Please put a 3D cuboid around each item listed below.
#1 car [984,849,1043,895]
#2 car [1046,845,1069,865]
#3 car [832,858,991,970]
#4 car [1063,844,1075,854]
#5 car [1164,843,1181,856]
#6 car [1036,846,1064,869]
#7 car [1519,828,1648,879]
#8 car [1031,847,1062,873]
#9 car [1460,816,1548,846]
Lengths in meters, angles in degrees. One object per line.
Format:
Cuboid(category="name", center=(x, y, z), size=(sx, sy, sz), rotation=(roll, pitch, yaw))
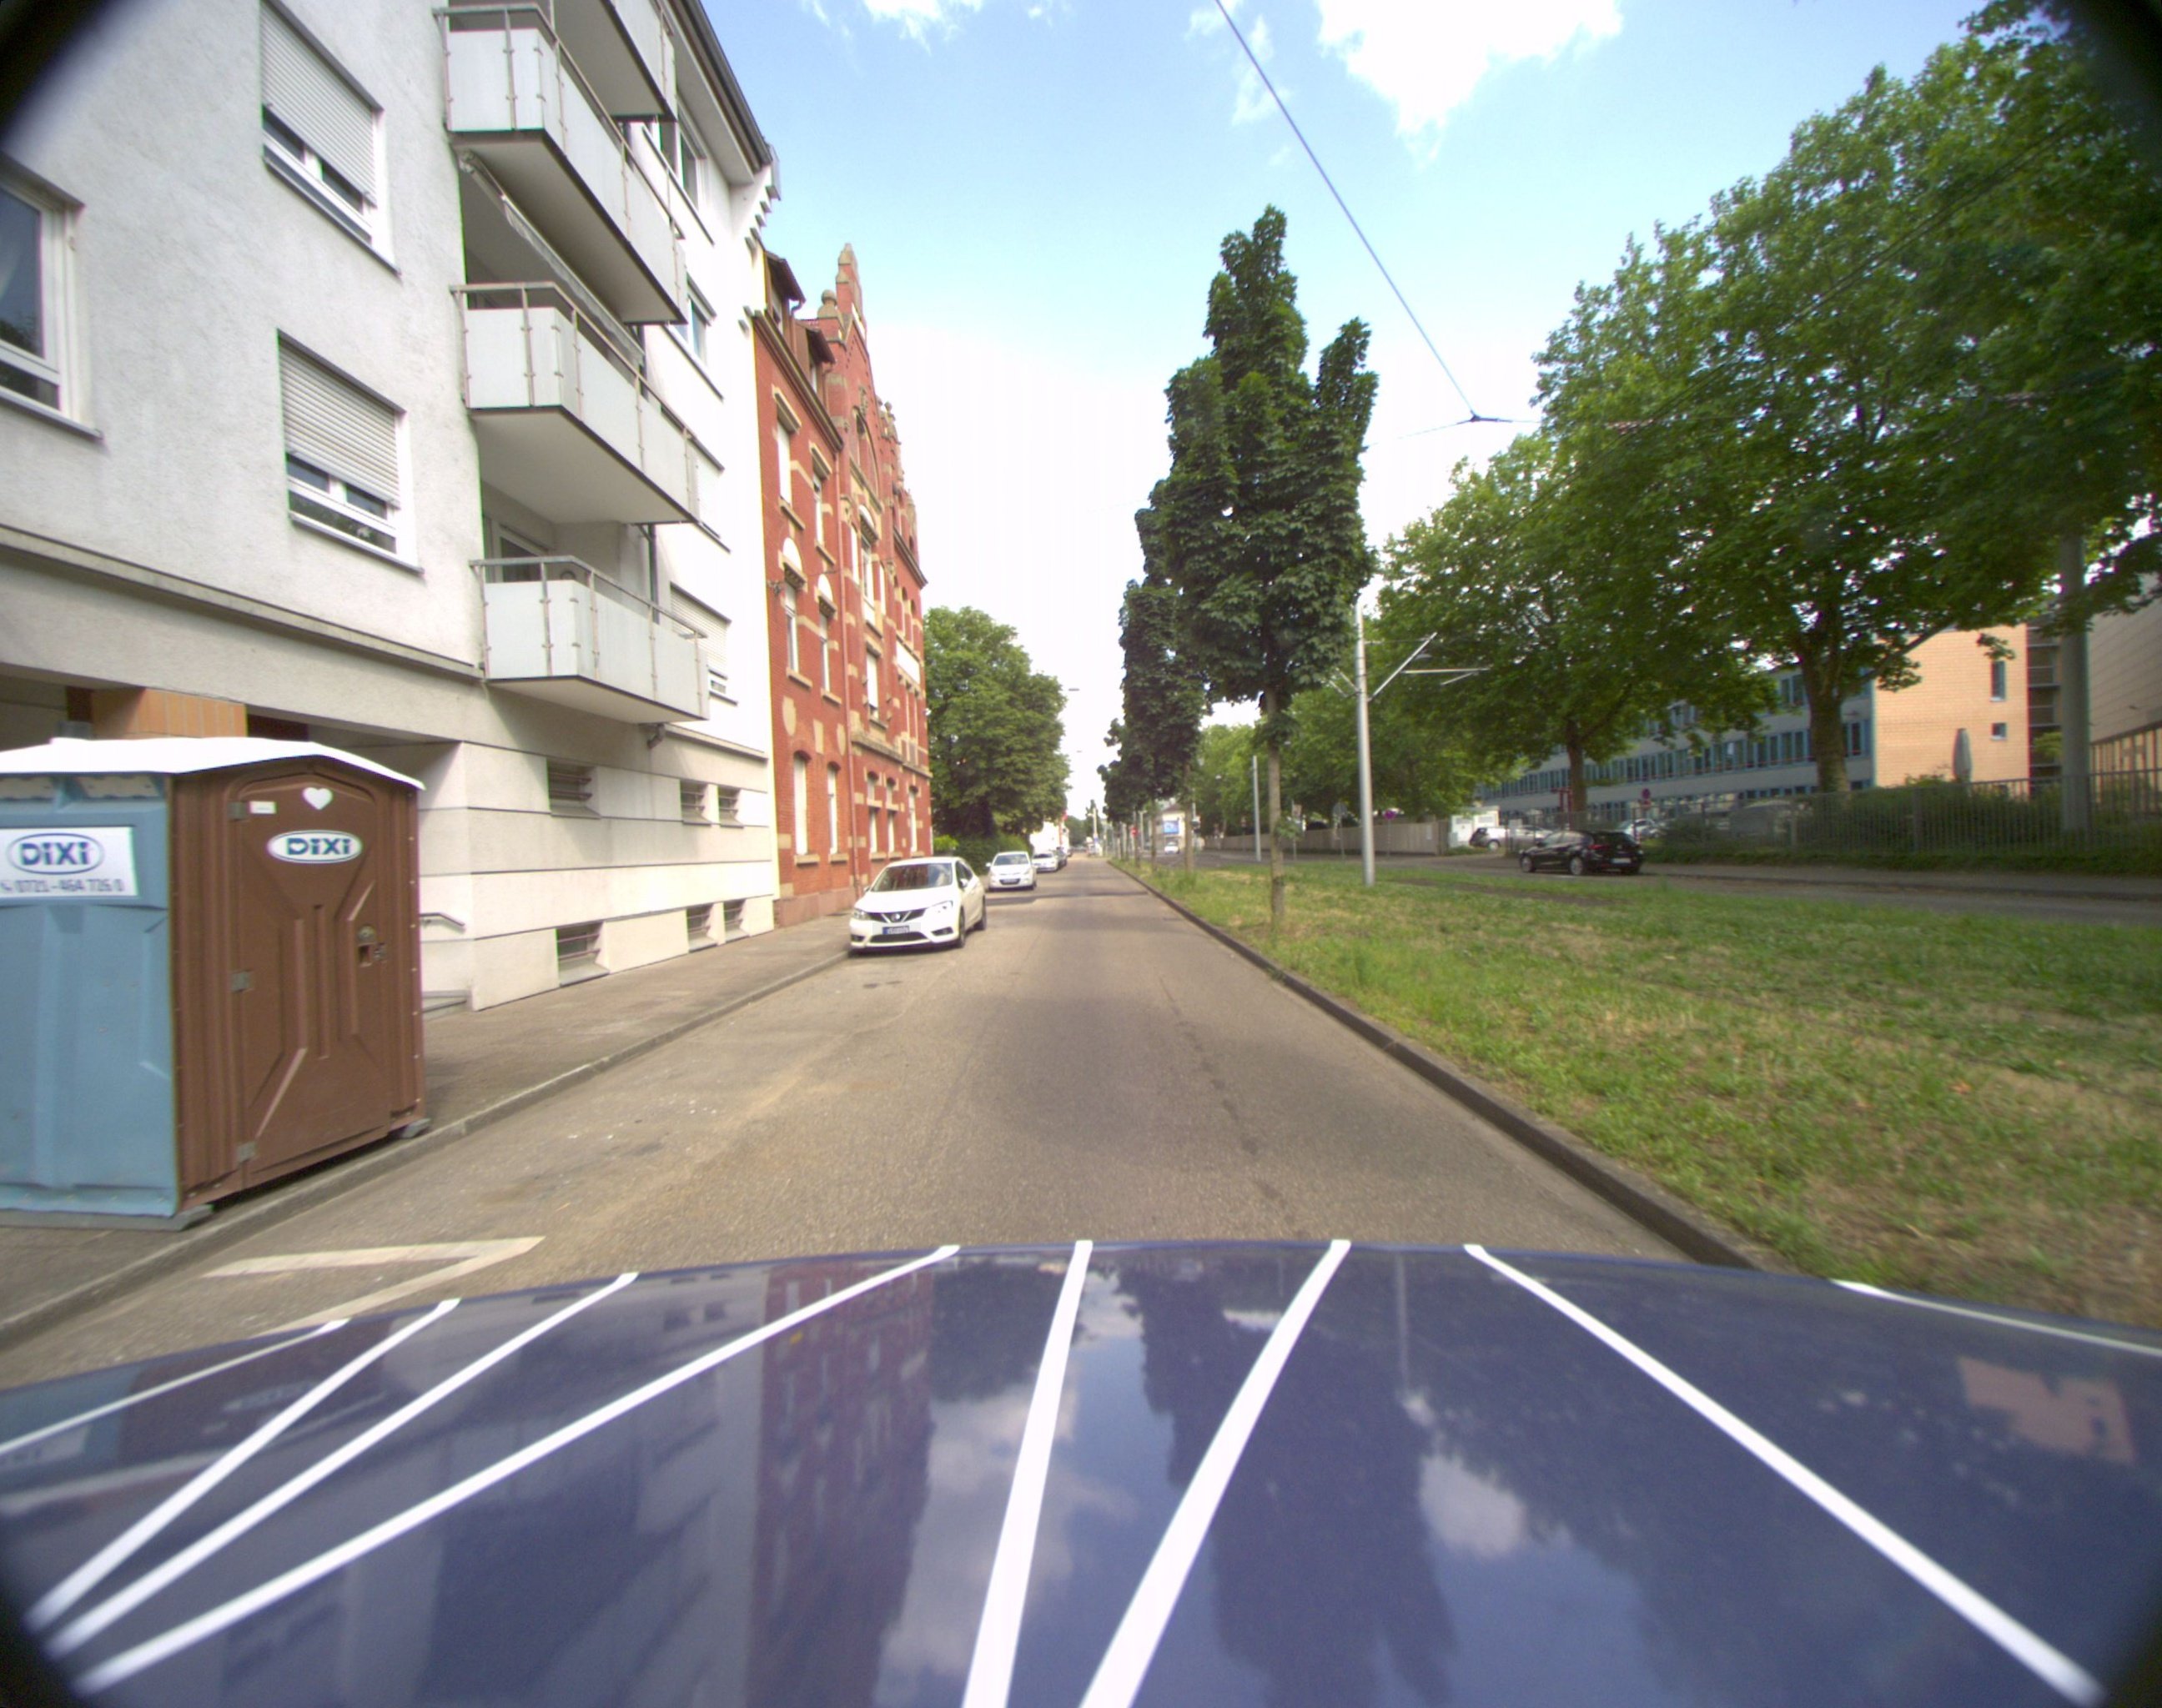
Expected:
Cuboid(category="car", center=(-2.576, 0.644, 29.792), size=(1.801, 1.521, 4.040), rotation=(-4, 1, 1))
Cuboid(category="car", center=(-2.081, 0.075, 68.377), size=(1.801, 1.521, 4.040), rotation=(-5, 1, 1))
Cuboid(category="car", center=(-2.795, 0.915, 13.500), size=(1.801, 1.521, 4.040), rotation=(-3, 1, 1))
Cuboid(category="car", center=(-1.920, -0.889, 126.740), size=(1.801, 1.521, 4.040), rotation=(-5, 1, 1))
Cuboid(category="car", center=(12.340, -0.640, 102.579), size=(1.799, 1.521, 4.043), rotation=(-3, 1, 12))
Cuboid(category="car", center=(-2.273, 0.205, 57.507), size=(1.801, 1.521, 4.040), rotation=(-5, 1, 1))
Cuboid(category="car", center=(15.948, -0.049, 24.385), size=(1.601, 1.456, 4.000), rotation=(-2, 1, 2))
Cuboid(category="car", center=(-2.279, 0.394, 51.283), size=(1.801, 1.521, 4.040), rotation=(-5, 1, 1))
Cuboid(category="car", center=(24.716, -1.352, 44.467), size=(3.997, 1.609, 1.999), rotation=(-2, 1, -1))
